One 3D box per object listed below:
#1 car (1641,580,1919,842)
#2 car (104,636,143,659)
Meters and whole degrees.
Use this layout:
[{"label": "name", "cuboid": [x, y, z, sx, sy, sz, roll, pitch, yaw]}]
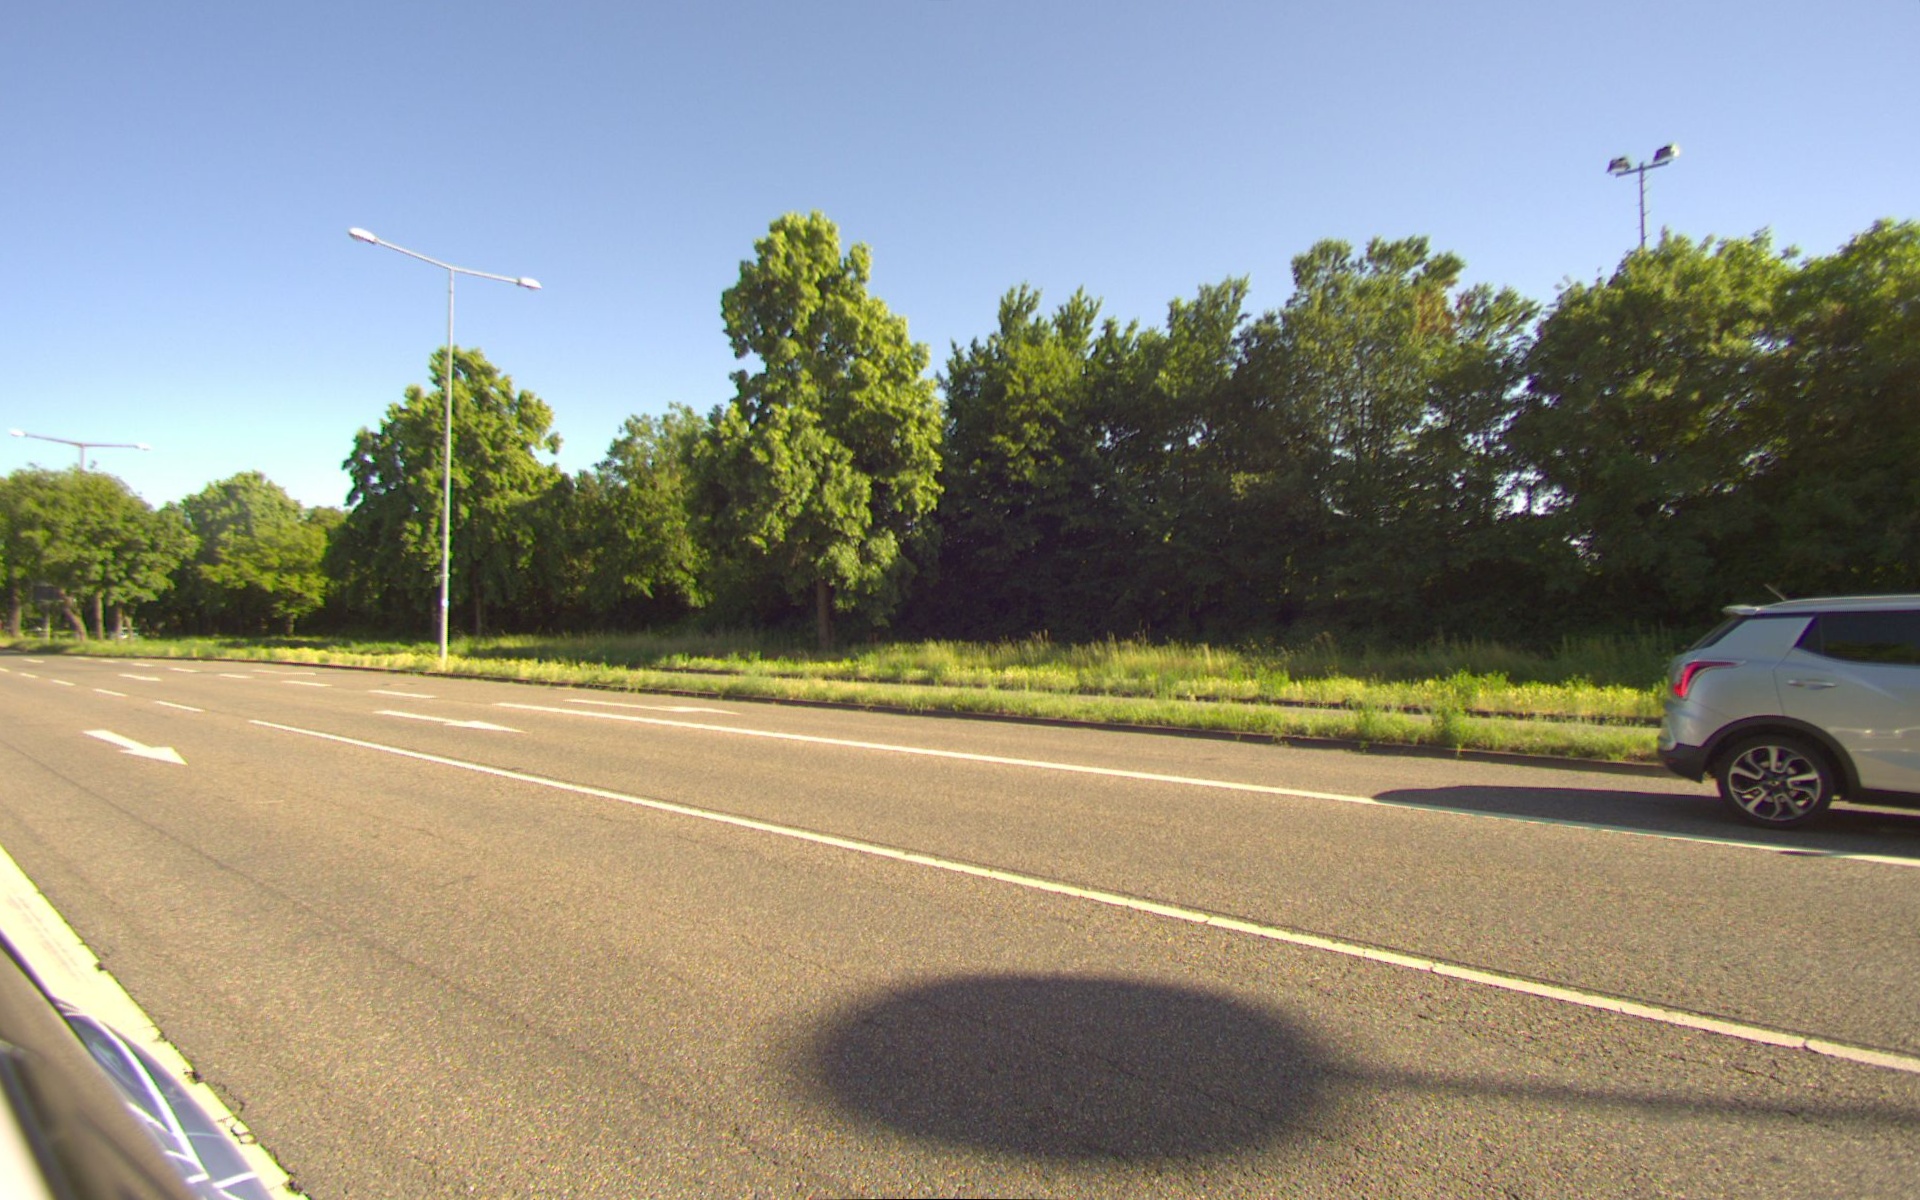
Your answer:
[{"label": "car", "cuboid": [6.994, 0.695, 6.551, 4.104, 1.622, 1.766, -1, -2, 41]}, {"label": "car", "cuboid": [-70.860, 3.983, 85.758, 4.406, 1.716, 1.892, 0, 0, 42]}]
